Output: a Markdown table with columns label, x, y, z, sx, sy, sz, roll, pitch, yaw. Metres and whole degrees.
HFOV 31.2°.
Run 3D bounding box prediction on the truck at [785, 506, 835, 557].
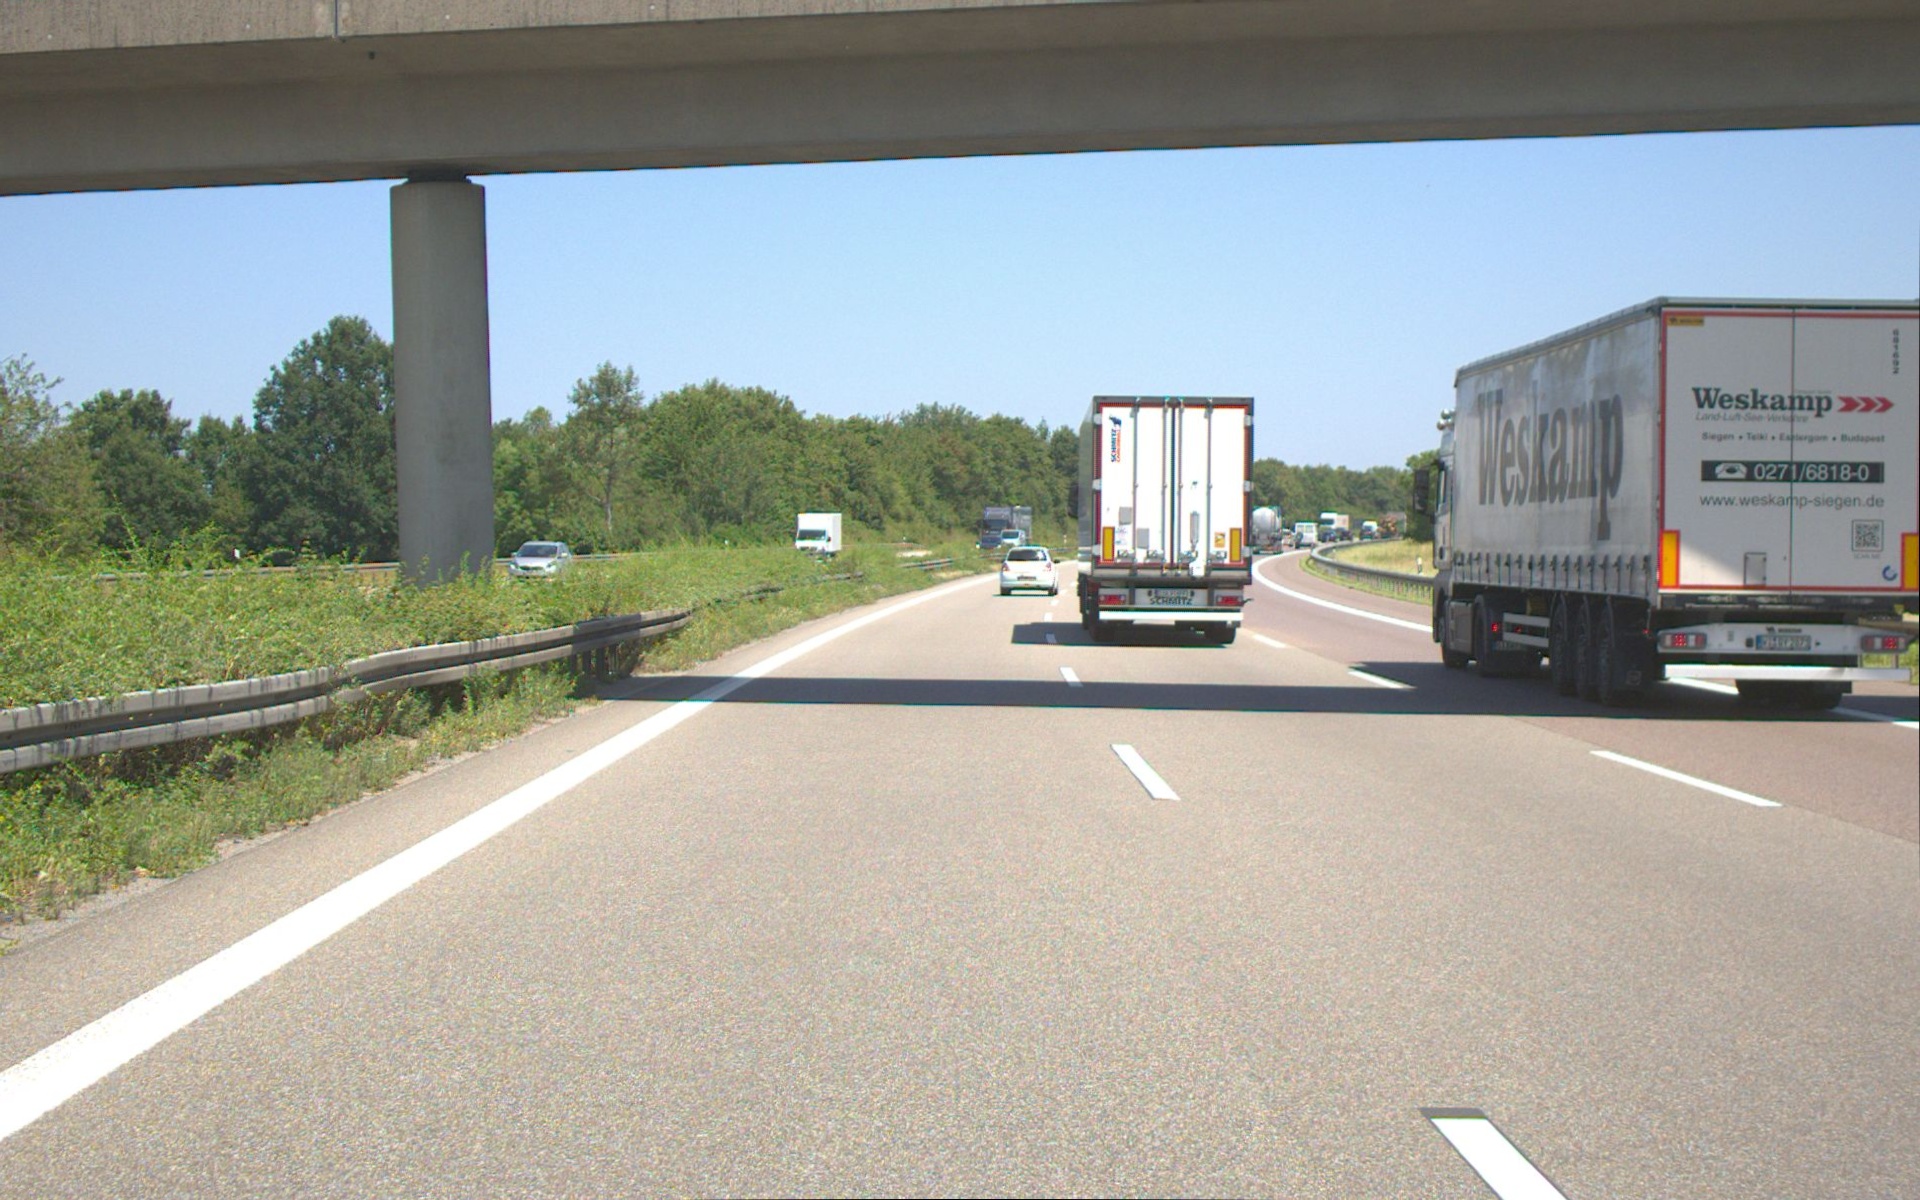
| label | x | y | z | sx | sy | sz | roll | pitch | yaw |
| --- | --- | --- | --- | --- | --- | --- | --- | --- | --- |
| truck | -9.247 | -4.199 | 212.207 | 2.452 | 3.088 | 6.990 | 0 | 1 | 3 |

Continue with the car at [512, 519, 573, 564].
| label | x | y | z | sx | sy | sz | roll | pitch | yaw |
| --- | --- | --- | --- | --- | --- | --- | --- | --- | --- |
| car | -15.004 | -2.115 | 123.740 | 1.710 | 1.568 | 4.404 | -1 | 1 | -1 |

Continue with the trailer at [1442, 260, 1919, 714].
| label | x | y | z | sx | sy | sz | roll | pitch | yaw |
| --- | --- | --- | --- | --- | --- | --- | --- | --- | --- |
| trailer | 7.768 | -1.159 | 39.164 | 2.595 | 4.237 | 13.641 | 1 | 1 | 0 |

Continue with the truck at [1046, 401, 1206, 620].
| label | x | y | z | sx | sy | sz | roll | pitch | yaw |
| --- | --- | --- | --- | --- | --- | --- | --- | --- | --- |
| truck | 3.307 | -1.791 | 69.667 | 2.908 | 4.241 | 4.975 | 1 | 1 | 0 |

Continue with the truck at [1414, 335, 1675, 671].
| label | x | y | z | sx | sy | sz | roll | pitch | yaw |
| --- | --- | --- | --- | --- | --- | --- | --- | --- | --- |
| truck | 7.776 | -1.287 | 46.325 | 2.600 | 4.241 | 5.089 | 1 | 1 | 0 |

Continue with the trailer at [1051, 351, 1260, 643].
| label | x | y | z | sx | sy | sz | roll | pitch | yaw |
| --- | --- | --- | --- | --- | --- | --- | --- | --- | --- |
| trailer | 3.312 | -1.797 | 61.934 | 2.901 | 4.641 | 13.987 | 1 | 1 | 0 |

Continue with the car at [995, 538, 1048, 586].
| label | x | y | z | sx | sy | sz | roll | pitch | yaw |
| --- | --- | --- | --- | --- | --- | --- | --- | --- | --- |
| car | 1.919 | -1.195 | 107.428 | 1.627 | 1.474 | 4.000 | 0 | 1 | 1 |
